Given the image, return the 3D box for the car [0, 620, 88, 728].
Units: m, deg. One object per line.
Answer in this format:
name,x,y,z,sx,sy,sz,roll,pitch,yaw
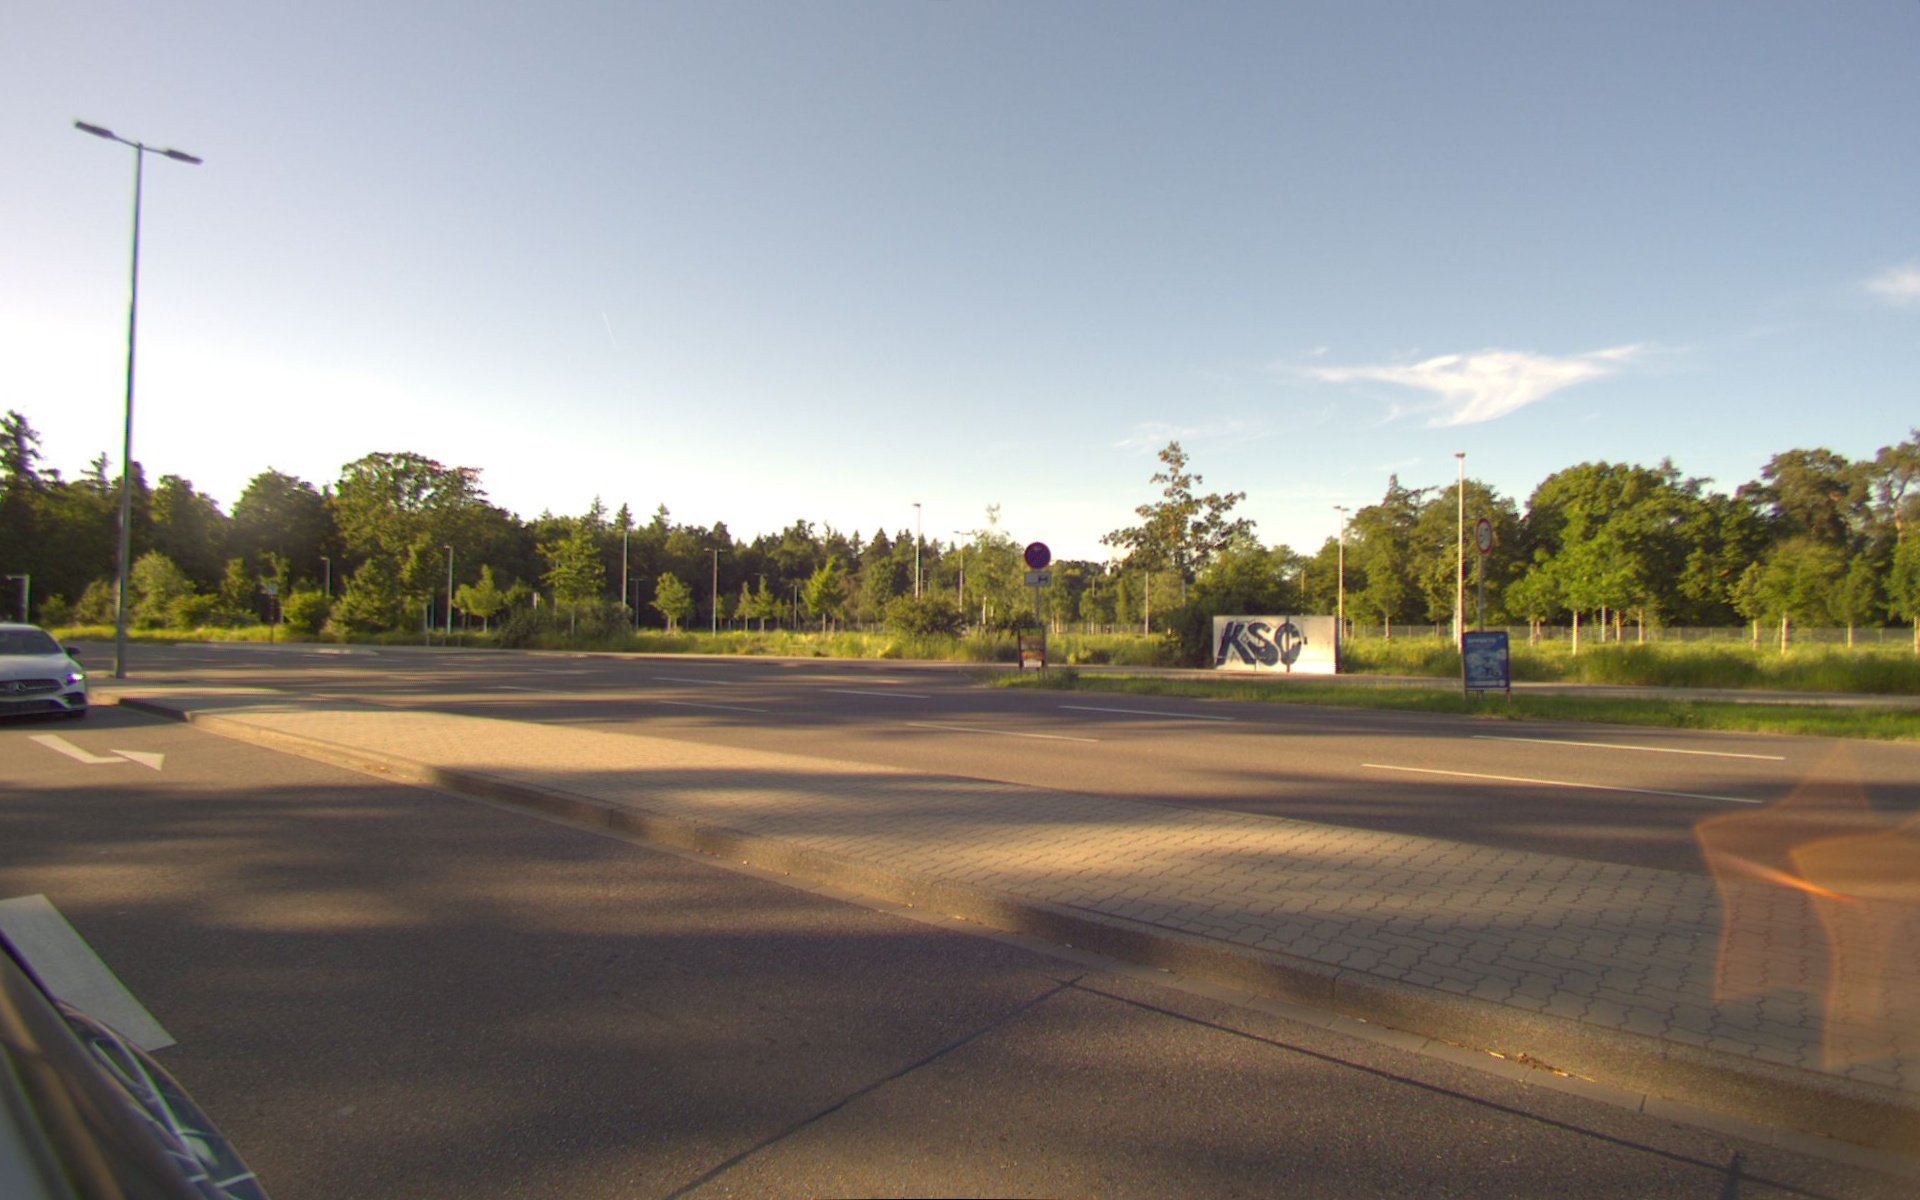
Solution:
car,-14.712,1.076,15.253,4.275,1.455,1.767,-2,-1,41
